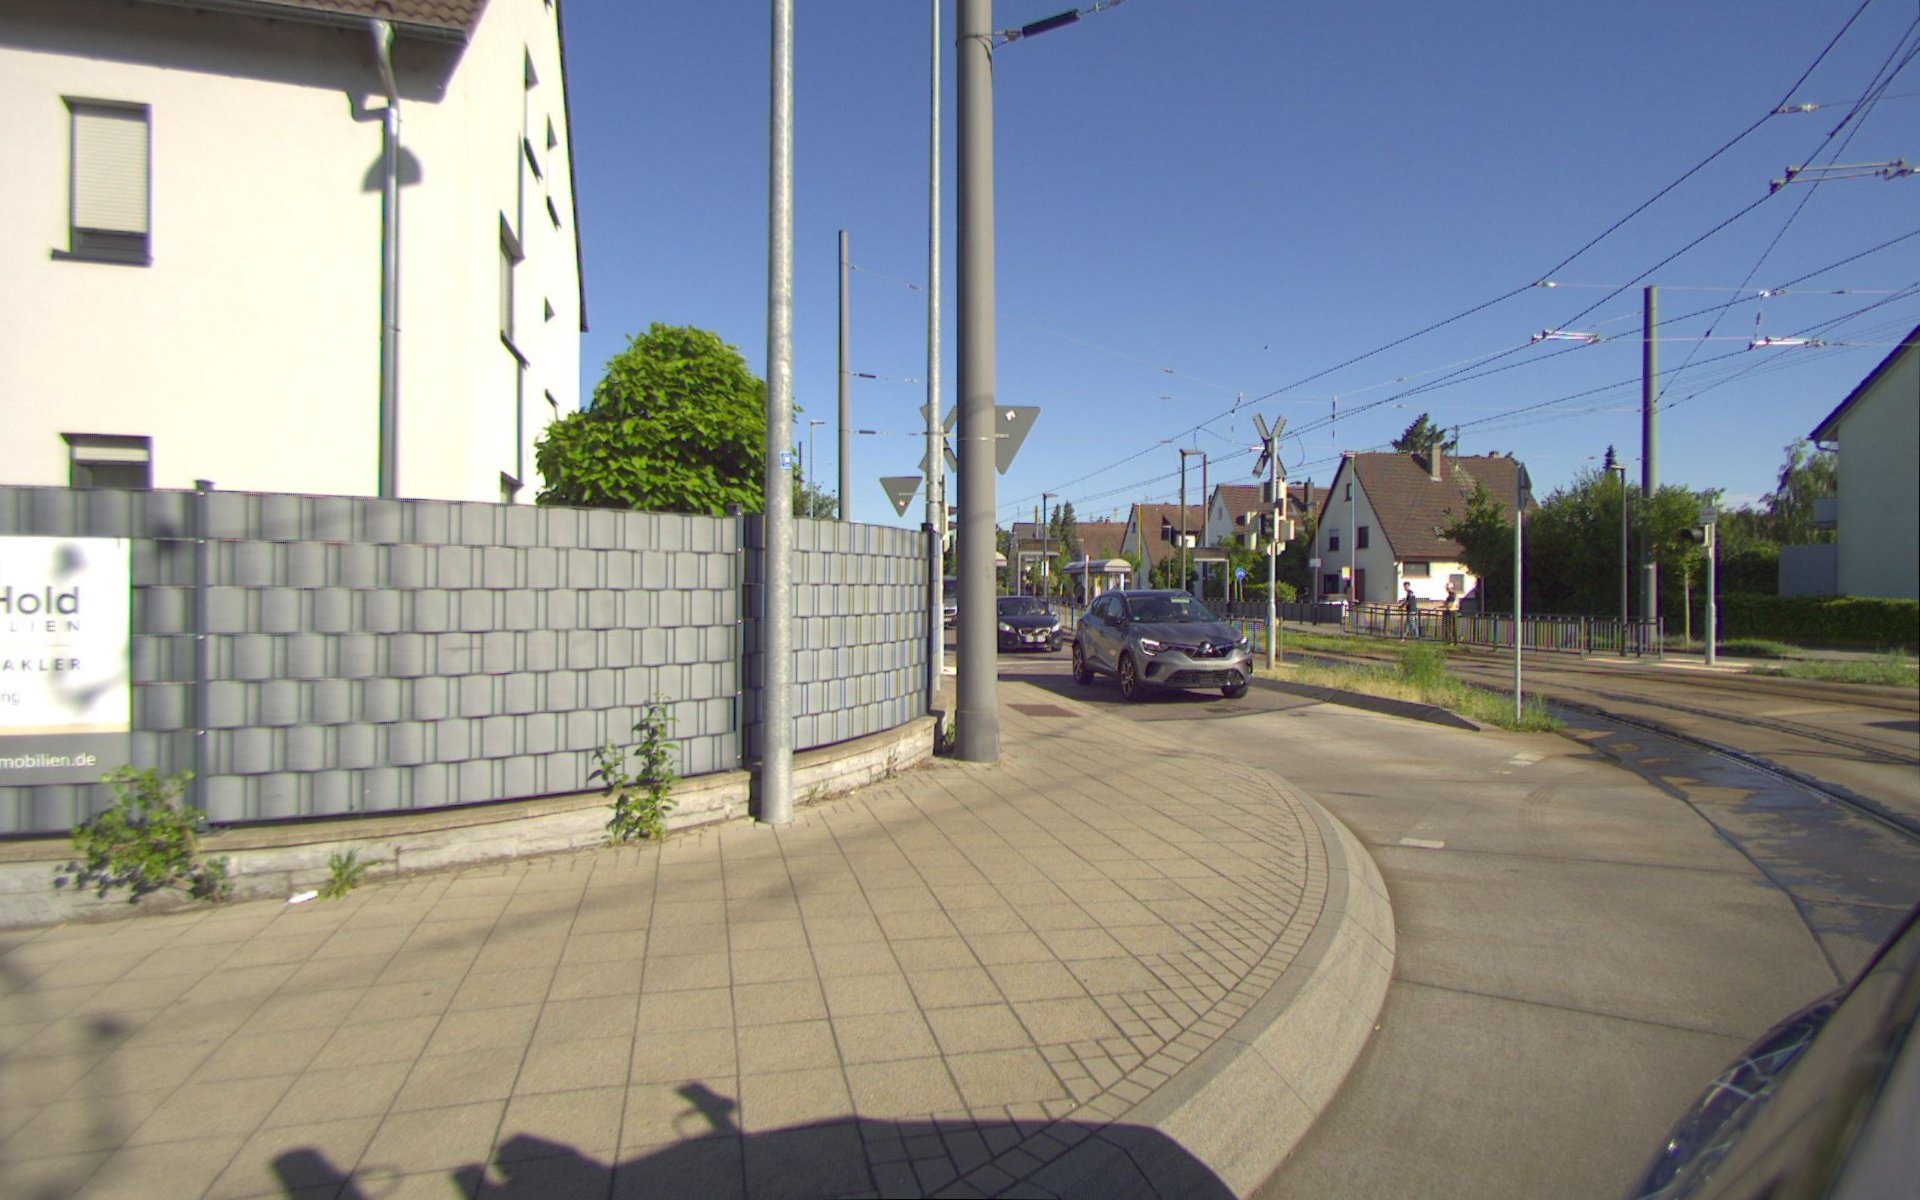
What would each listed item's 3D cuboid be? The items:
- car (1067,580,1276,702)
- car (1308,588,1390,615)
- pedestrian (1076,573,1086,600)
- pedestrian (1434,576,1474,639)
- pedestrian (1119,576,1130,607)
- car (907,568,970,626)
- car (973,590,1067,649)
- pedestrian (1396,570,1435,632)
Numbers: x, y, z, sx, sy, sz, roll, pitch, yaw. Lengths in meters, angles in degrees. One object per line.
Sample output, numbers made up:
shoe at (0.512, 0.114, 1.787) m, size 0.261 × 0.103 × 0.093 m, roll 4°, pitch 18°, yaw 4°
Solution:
car at (3.079, 0.521, 15.642) m, size 1.793 × 1.599 × 4.007 m, roll -1°, pitch 1°, yaw -10°
car at (22.134, 0.074, 57.629) m, size 3.908 × 1.554 × 2.004 m, roll 0°, pitch 0°, yaw -12°
pedestrian at (7.865, -0.887, 65.974) m, size 0.524 × 1.775 × 0.544 m, roll 0°, pitch 0°, yaw -10°
pedestrian at (13.699, 0.185, 28.071) m, size 0.781 × 1.681 × 0.728 m, roll -3°, pitch 3°, yaw -34°
pedestrian at (9.575, -0.494, 58.843) m, size 0.613 × 1.775 × 0.440 m, roll 0°, pitch 0°, yaw 9°
car at (-0.976, -0.145, 42.900) m, size 2.048 × 2.267 × 4.729 m, roll -1°, pitch 1°, yaw -8°
car at (1.501, 0.450, 26.789) m, size 1.654 × 1.404 × 4.006 m, roll -1°, pitch 1°, yaw -8°
pedestrian at (13.469, 0.019, 29.933) m, size 0.676 × 1.792 × 0.826 m, roll -3°, pitch 3°, yaw -34°
